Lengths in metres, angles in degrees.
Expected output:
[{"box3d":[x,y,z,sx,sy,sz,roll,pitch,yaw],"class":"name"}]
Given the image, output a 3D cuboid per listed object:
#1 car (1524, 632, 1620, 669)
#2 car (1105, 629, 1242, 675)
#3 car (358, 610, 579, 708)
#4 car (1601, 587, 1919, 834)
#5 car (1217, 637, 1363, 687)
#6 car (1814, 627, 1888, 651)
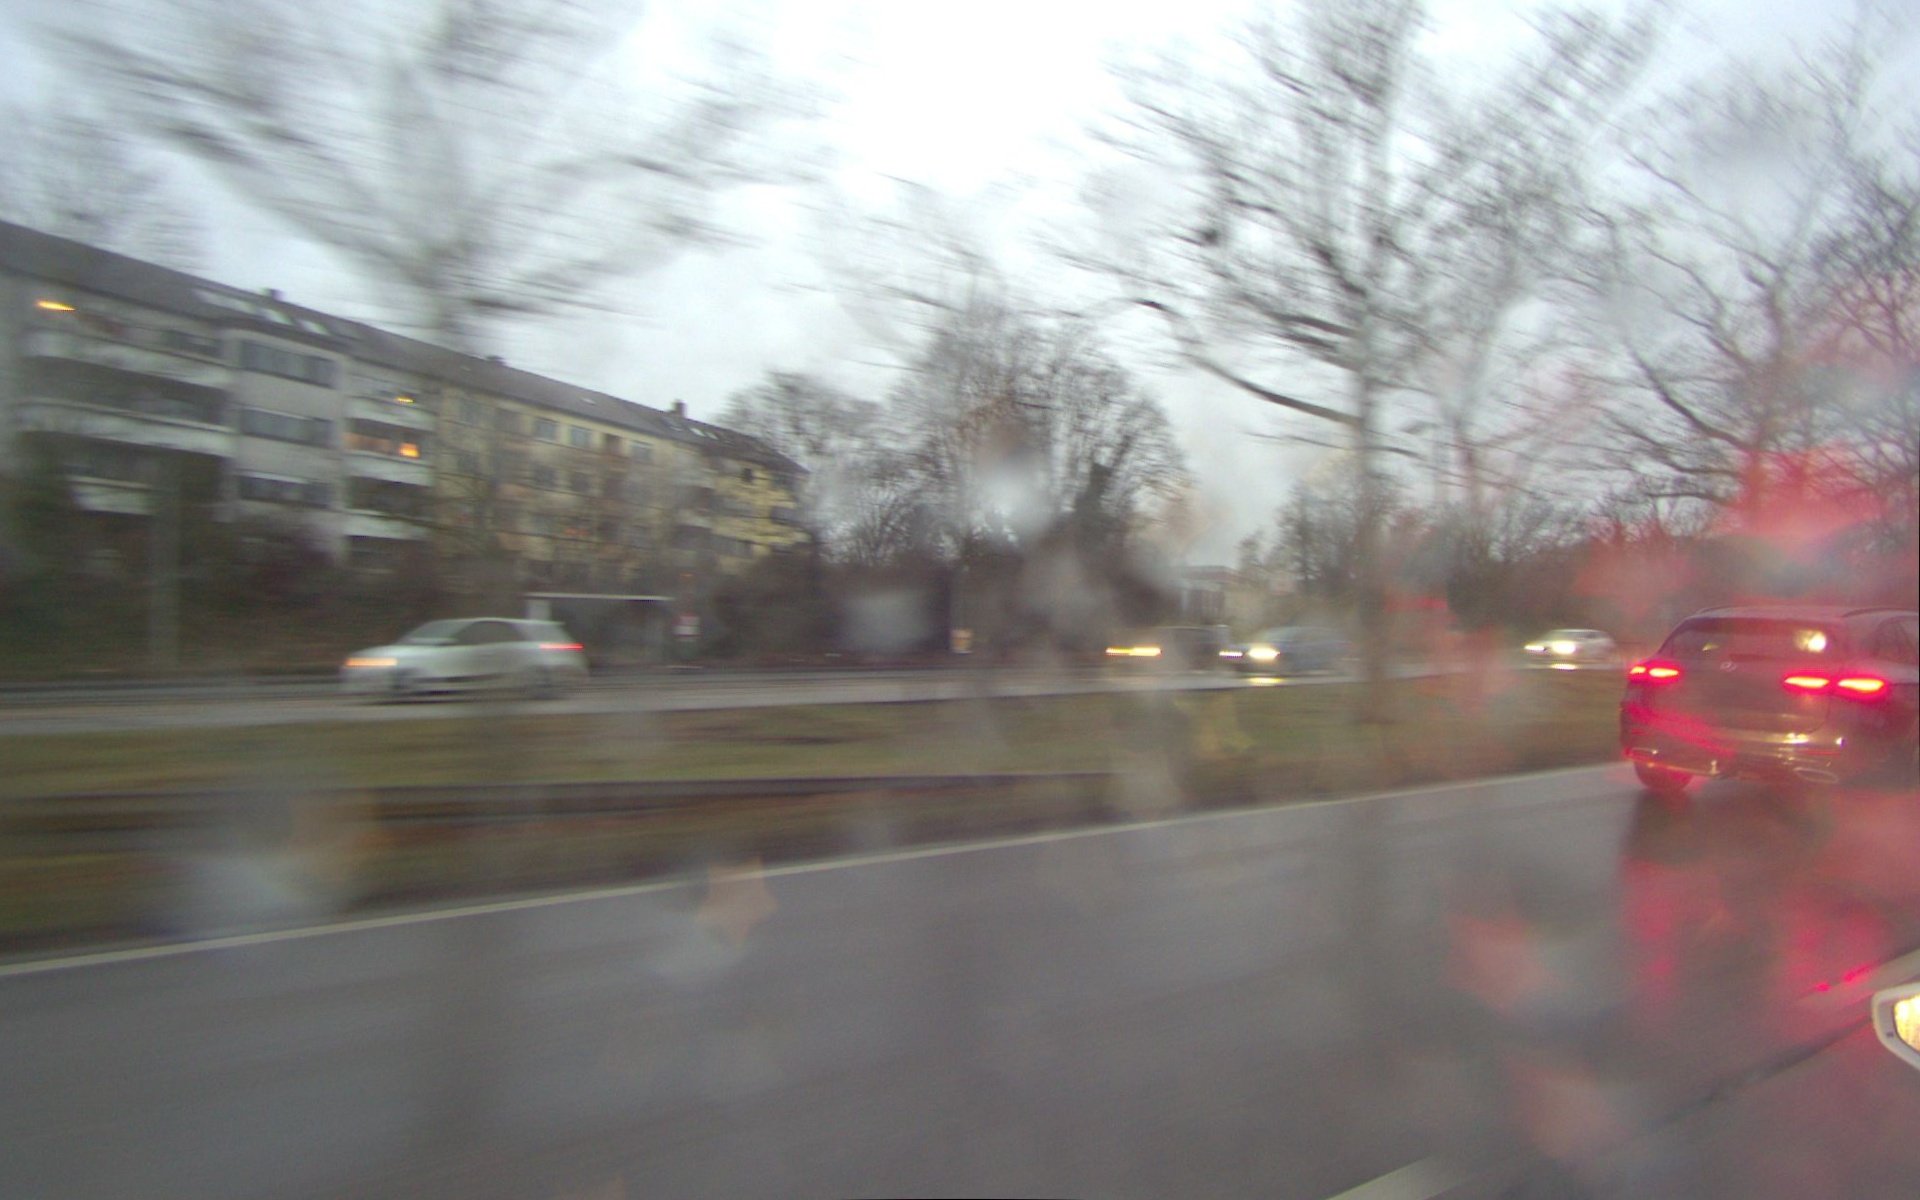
[{"box3d":[26.575,2.179,43.592,4.147,1.502,1.744,2,-1,-30],"class":"car"},{"box3d":[6.847,1.644,32.111,4.266,1.325,1.743,2,-1,-31],"class":"car"},{"box3d":[-9.172,1.054,18.780,3.535,1.648,1.775,2,-1,-32],"class":"car"},{"box3d":[7.659,0.829,8.738,4.417,1.669,1.813,2,-2,-32],"class":"car"},{"box3d":[9.714,1.786,29.494,4.266,1.325,1.743,2,-1,-31],"class":"car"},{"box3d":[50.477,2.212,56.890,3.953,1.207,1.984,3,-1,-30],"class":"car"}]
